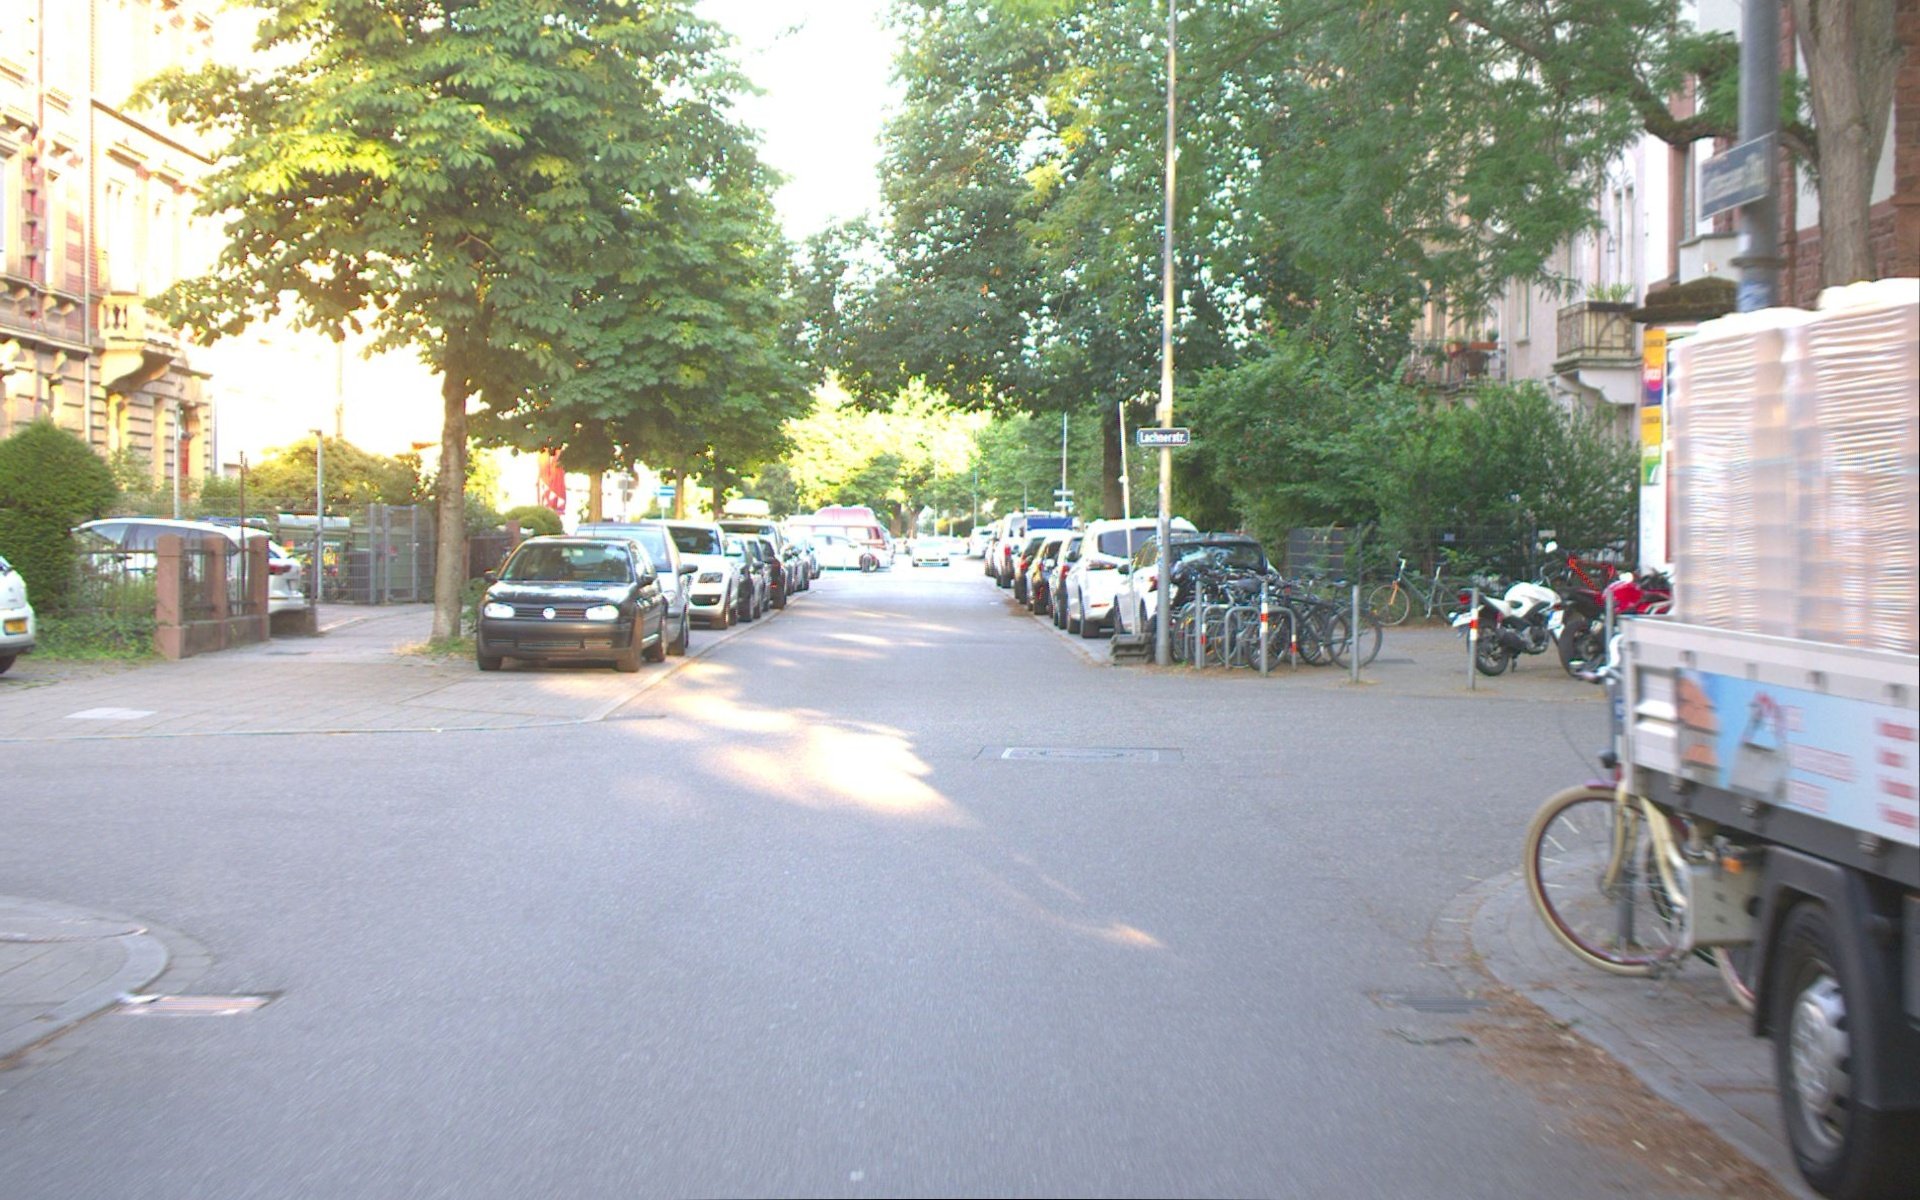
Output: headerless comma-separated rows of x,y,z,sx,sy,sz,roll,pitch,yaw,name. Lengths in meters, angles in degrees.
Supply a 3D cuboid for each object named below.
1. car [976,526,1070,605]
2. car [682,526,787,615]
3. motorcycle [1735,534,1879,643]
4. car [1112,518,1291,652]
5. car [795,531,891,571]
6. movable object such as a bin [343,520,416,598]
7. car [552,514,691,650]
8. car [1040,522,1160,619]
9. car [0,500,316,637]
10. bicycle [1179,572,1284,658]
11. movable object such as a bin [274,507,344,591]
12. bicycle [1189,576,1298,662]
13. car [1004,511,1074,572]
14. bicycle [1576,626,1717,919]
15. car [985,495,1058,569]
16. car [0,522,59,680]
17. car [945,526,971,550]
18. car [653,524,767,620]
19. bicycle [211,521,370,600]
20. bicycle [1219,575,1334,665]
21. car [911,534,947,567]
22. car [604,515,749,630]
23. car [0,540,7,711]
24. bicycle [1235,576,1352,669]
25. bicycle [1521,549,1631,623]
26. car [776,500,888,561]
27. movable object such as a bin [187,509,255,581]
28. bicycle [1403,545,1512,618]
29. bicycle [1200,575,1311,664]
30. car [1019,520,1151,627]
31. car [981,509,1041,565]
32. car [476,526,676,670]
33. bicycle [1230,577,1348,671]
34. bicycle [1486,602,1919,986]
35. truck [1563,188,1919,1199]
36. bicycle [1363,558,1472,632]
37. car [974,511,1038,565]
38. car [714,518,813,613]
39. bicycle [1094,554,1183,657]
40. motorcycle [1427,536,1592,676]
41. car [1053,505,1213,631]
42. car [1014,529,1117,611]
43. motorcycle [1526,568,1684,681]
1.303,-0.740,72.311,1.686,1.600,3.940,1,1,-3,car
-4.136,-0.572,63.513,1.715,1.561,3.788,1,1,-1,car
8.898,-0.133,36.060,0.437,1.076,2.105,2,3,45,motorcycle
2.972,-0.226,42.920,1.686,1.586,3.659,0,1,-5,car
-4.517,-1.887,132.381,3.618,1.456,1.607,1,1,-4,car
-10.259,-0.739,60.797,1.013,1.316,1.005,3,2,4,movable object such as a bin
-4.166,-0.262,42.733,1.595,1.598,3.745,1,1,-4,car
2.367,-0.515,58.870,1.686,1.600,3.749,1,1,-3,car
-10.638,-0.426,44.888,4.092,1.522,1.709,3,1,-1,car
3.138,0.169,39.725,1.224,0.948,0.330,-1,3,-28,bicycle
-11.489,-0.897,60.623,1.096,1.409,1.005,2,2,-14,movable object such as a bin
3.226,0.211,39.112,1.224,0.944,0.330,-1,2,-22,bicycle
2.014,-1.507,88.475,1.538,1.516,3.432,1,1,-3,car
2.972,0.709,14.991,0.405,1.106,2.154,-2,1,7,bicycle
1.638,-1.827,92.533,1.680,1.934,3.881,1,1,-3,car
-10.622,-0.020,32.669,3.564,1.442,1.817,1,2,8,car
-0.150,-4.188,231.920,1.715,1.590,3.483,1,1,-1,car
-4.255,-0.483,58.956,1.715,1.561,3.781,1,1,-1,car
-11.362,-0.672,58.354,2.529,1.188,0.643,3,2,6,bicycle
3.500,0.220,38.019,1.223,0.960,0.330,-1,2,-17,bicycle
-1.592,-2.524,175.279,1.813,1.590,3.483,1,1,-1,car
-4.387,-0.468,53.786,1.921,1.711,4.428,1,1,-1,car
-3.747,0.589,8.062,1.689,1.497,4.738,3,2,-1,car
3.633,0.243,37.458,1.224,0.984,0.330,-1,2,-4,bicycle
8.835,-0.207,49.341,1.509,1.030,0.330,-1,2,-2,bicycle
-5.023,-2.736,134.964,4.349,2.310,1.746,1,1,-2,car
-13.105,-0.987,60.972,1.096,1.205,1.005,2,2,-14,movable object such as a bin
7.192,-0.269,49.723,1.509,1.030,0.330,-1,2,-2,bicycle
3.304,0.210,38.412,1.224,0.954,0.330,-1,2,-22,bicycle
1.926,-0.424,54.052,1.686,1.600,4.210,1,1,-3,car
1.657,-2.070,113.417,1.686,1.805,3.940,1,1,-3,car
-4.171,-0.061,37.861,1.616,1.465,3.961,1,1,2,car
3.553,0.254,37.100,1.224,0.983,0.330,-1,2,-2,bicycle
2.853,0.661,12.097,1.902,1.254,0.407,-2,1,-6,bicycle
2.878,0.315,6.522,1.977,2.237,6.777,0,1,-3,truck
6.544,-0.076,49.167,1.509,1.030,0.330,-1,2,-2,bicycle
1.402,-1.904,106.006,1.686,1.600,3.940,1,1,-3,car
-3.831,-0.704,67.513,1.715,1.784,4.216,1,1,-1,car
2.084,0.055,39.944,0.444,1.169,1.634,1,1,24,bicycle
5.853,0.041,36.545,0.585,1.403,2.207,2,3,43,motorcycle
2.417,-0.468,49.015,1.798,1.705,4.602,0,1,-3,car
1.943,-0.571,64.249,1.686,1.436,4.210,-2,1,-1,car
6.694,0.237,35.611,0.437,1.076,2.207,2,3,45,motorcycle
